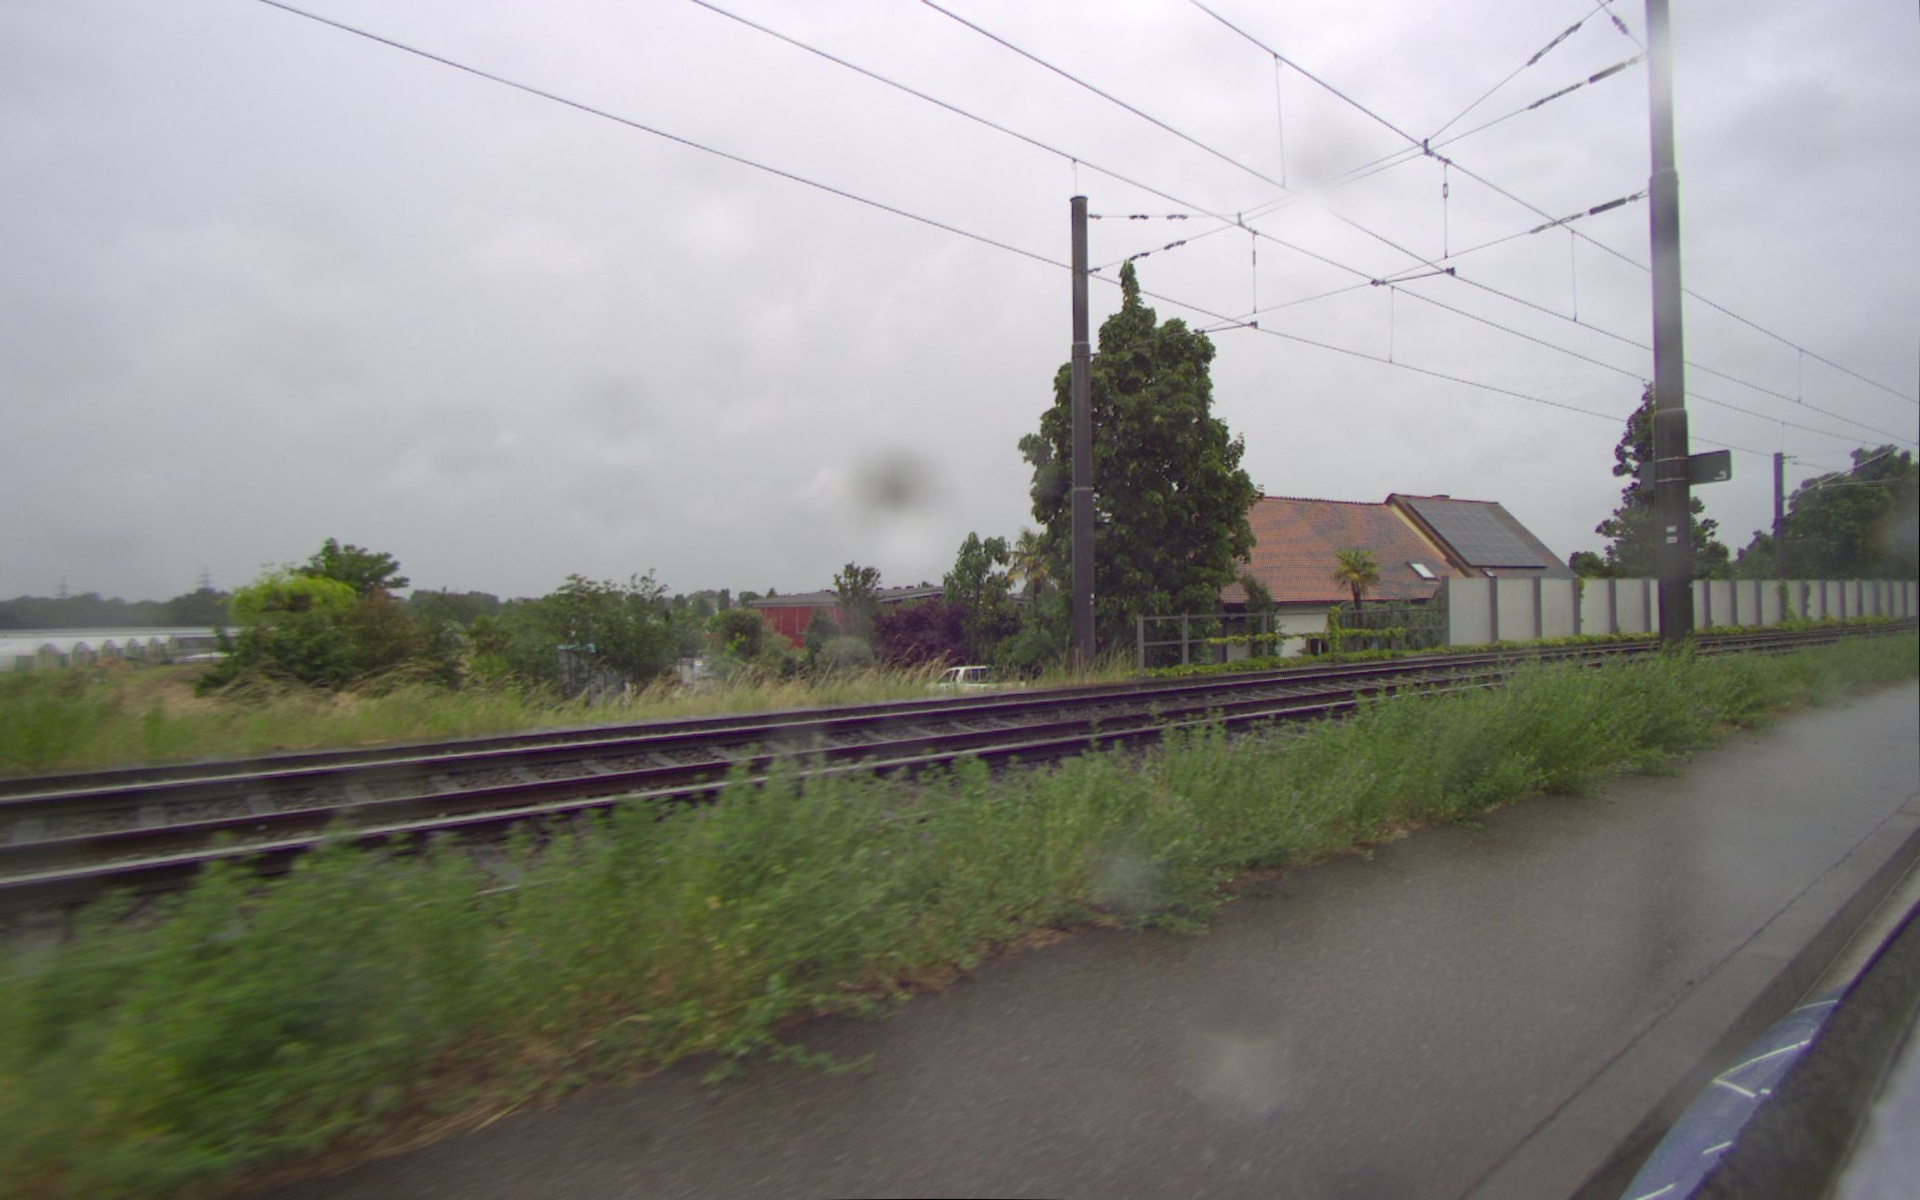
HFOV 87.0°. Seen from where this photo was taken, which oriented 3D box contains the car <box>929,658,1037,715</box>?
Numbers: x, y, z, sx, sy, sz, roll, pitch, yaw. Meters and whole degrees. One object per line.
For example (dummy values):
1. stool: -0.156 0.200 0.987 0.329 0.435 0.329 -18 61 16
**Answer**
1. car: 0.715 2.941 35.154 1.841 1.658 4.199 -2 -1 -29
